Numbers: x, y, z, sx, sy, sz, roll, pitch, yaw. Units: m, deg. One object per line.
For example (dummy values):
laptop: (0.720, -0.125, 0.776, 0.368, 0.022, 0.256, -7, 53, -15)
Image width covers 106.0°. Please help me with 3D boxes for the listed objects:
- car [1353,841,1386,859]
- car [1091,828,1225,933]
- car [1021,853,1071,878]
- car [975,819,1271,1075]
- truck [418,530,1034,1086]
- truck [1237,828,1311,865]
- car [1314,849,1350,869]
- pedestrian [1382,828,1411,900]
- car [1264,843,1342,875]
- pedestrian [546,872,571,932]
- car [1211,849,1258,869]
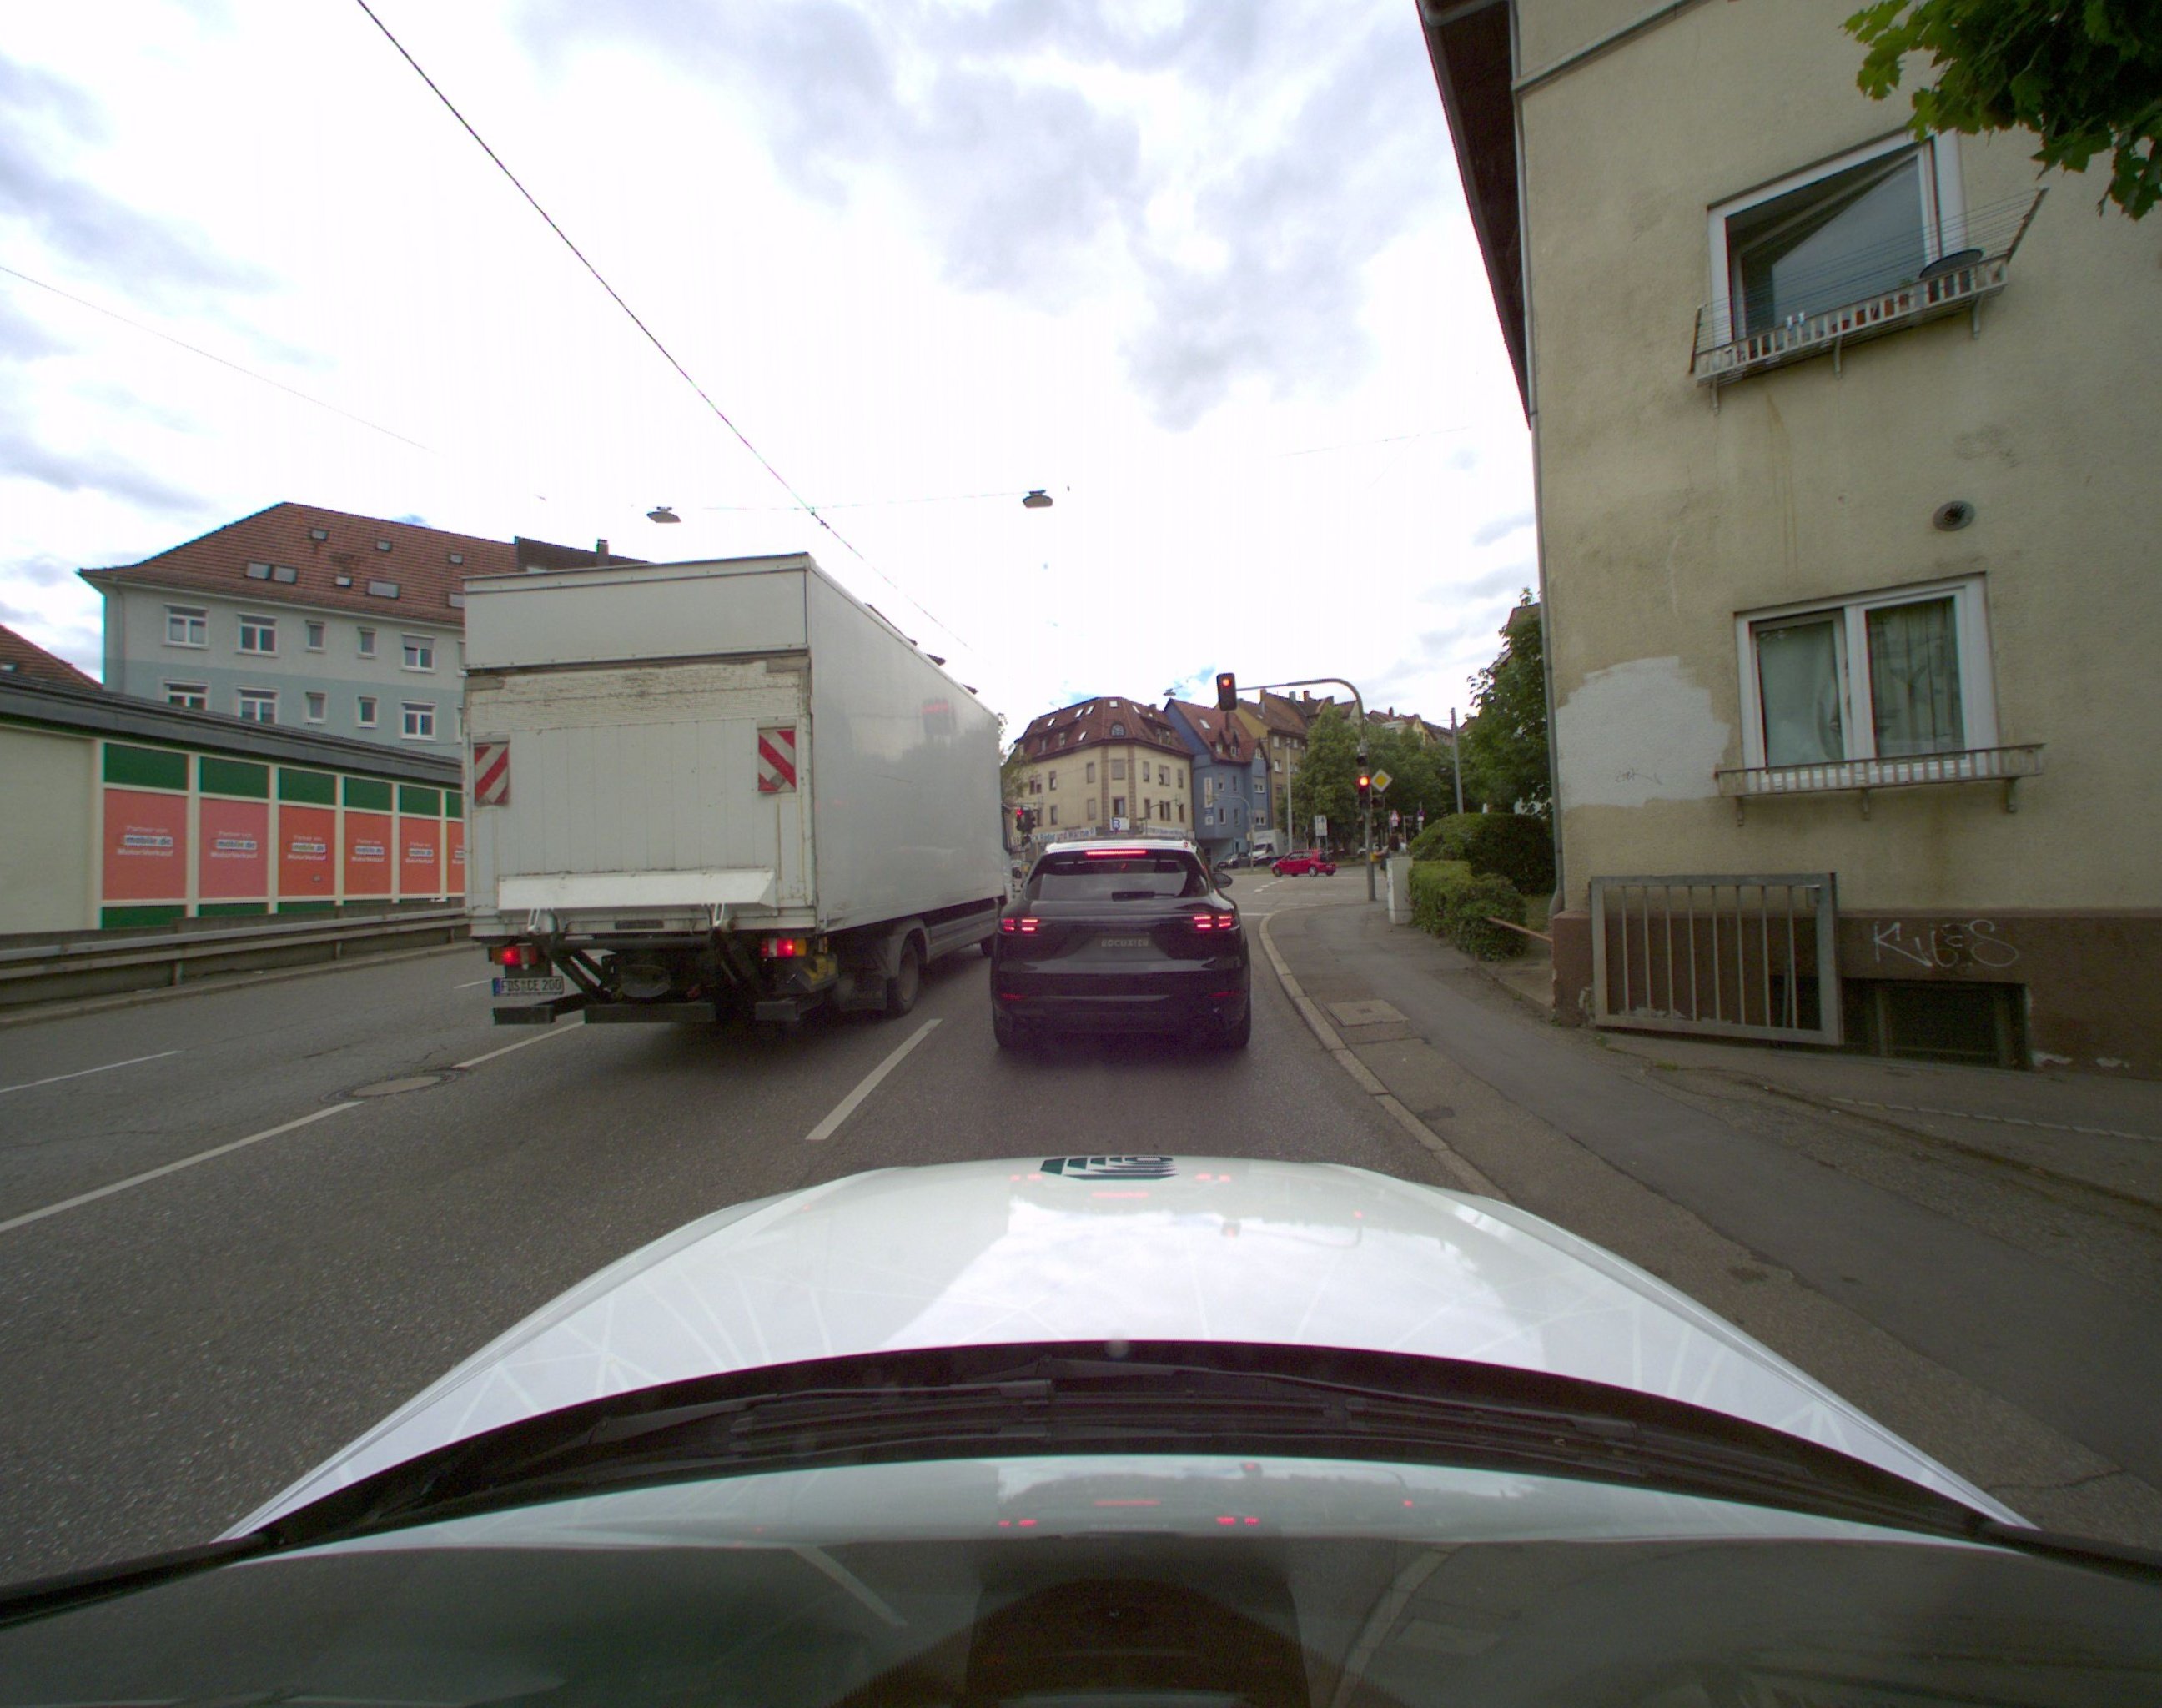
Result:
car: (32.656, -0.446, 92.131, 1.975, 2.014, 4.023, 0, -1, 45)
car: (1.576, 0.444, 15.162, 1.980, 1.684, 4.014, -1, 0, 12)
car: (-2.905, 0.958, 66.664, 2.011, 2.014, 3.952, 1, -1, -42)
car: (0.261, 0.607, 7.511, 1.973, 1.684, 3.998, -1, 0, -1)
truck: (-2.616, -0.310, 9.373, 2.754, 3.575, 8.079, -1, 0, 6)
truck: (18.663, -0.647, 78.248, 2.846, 3.340, 8.846, 0, 0, 43)
car: (26.490, 0.533, 86.016, 1.975, 2.014, 4.023, 0, -1, 45)
pedestrian: (8.086, 0.260, 20.868, 0.525, 1.819, 0.591, 1, -1, 1)
car: (12.197, 0.278, 44.895, 1.723, 1.662, 3.957, 1, -1, -35)
pedestrian: (-15.181, 1.382, 23.668, 0.479, 1.730, 0.536, 1, -1, -44)
car: (13.513, 0.445, 71.643, 4.021, 1.684, 1.976, -1, -1, -41)
